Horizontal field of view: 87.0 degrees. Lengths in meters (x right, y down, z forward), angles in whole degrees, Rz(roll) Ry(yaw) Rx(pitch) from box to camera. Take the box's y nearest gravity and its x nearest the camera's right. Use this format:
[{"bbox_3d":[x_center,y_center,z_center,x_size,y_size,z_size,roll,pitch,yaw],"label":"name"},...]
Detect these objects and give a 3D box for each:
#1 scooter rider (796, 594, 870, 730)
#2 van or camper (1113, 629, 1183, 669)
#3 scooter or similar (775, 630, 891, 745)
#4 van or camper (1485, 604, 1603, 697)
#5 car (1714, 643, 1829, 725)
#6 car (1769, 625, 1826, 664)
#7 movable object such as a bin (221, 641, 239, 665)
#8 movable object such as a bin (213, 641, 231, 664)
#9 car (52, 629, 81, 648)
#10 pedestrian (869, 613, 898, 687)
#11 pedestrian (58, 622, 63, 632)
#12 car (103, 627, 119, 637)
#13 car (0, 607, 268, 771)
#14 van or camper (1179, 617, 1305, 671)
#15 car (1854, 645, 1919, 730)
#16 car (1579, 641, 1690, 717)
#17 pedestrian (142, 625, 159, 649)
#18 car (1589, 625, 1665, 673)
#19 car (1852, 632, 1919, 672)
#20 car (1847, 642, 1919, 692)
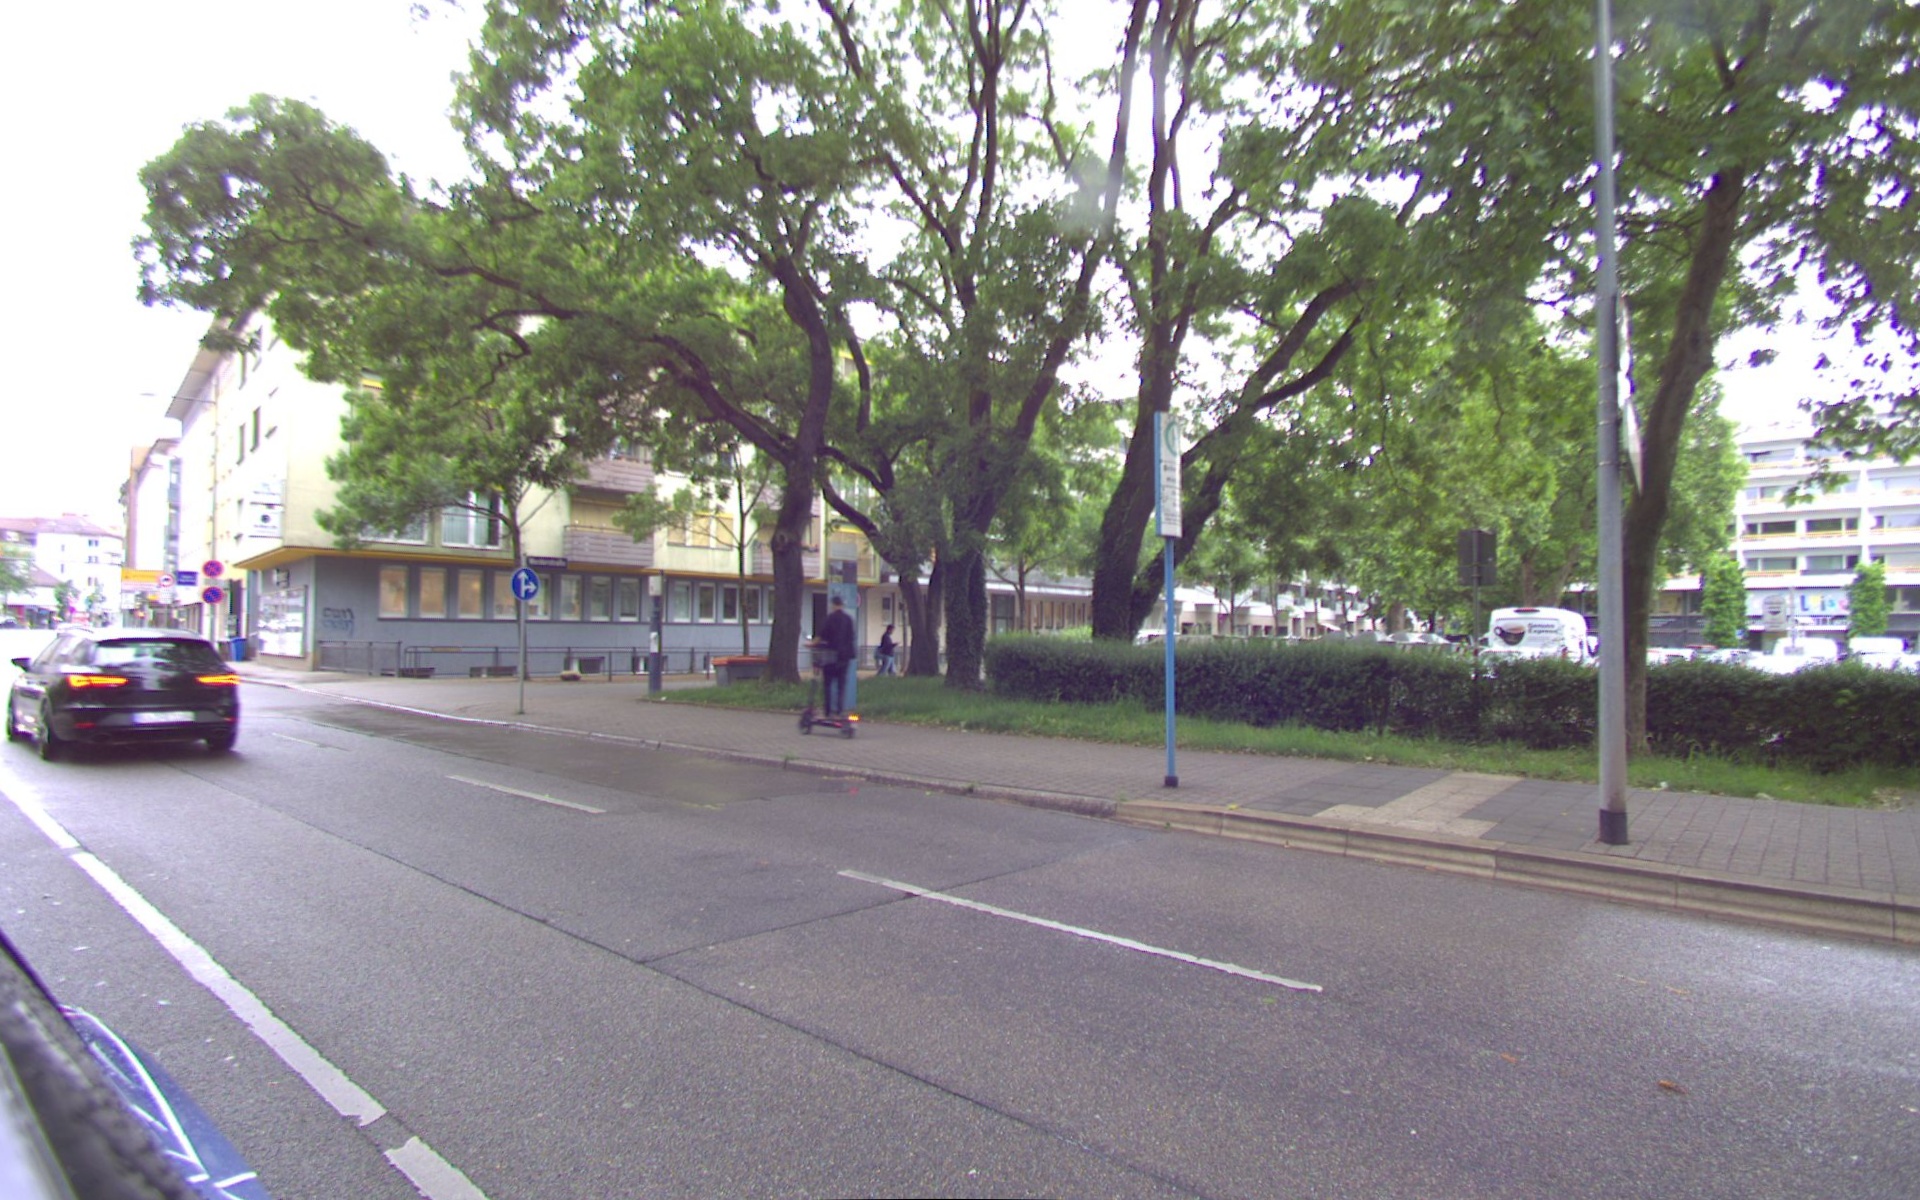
[{"bbox_3d":[-1.727,0.815,13.730,0.645,1.779,0.725,0,-1,42],"label":"scooter rider"},{"bbox_3d":[10.380,2.700,55.607,1.825,2.029,4.576,1,-2,38],"label":"van or camper"},{"bbox_3d":[-1.731,1.145,13.727,1.397,1.457,0.806,0,-2,41],"label":"scooter or similar"},{"bbox_3d":[16.899,1.426,29.199,2.099,2.450,4.280,-2,-3,42],"label":"van or camper"},{"bbox_3d":[18.595,1.842,23.217,1.895,1.497,3.948,-1,0,39],"label":"car"},{"bbox_3d":[41.879,2.190,50.680,2.097,1.735,3.948,-1,0,39],"label":"car"},{"bbox_3d":[-30.050,2.183,41.684,0.522,0.968,0.435,-3,1,-42],"label":"movable object such as a bin"},{"bbox_3d":[-30.880,2.196,42.336,0.521,0.935,0.426,-3,1,-42],"label":"movable object such as a bin"},{"bbox_3d":[-82.240,3.539,93.141,1.807,1.634,4.007,2,-3,-39],"label":"car"},{"bbox_3d":[-2.142,1.395,28.318,0.770,2.029,0.754,0,-2,-7],"label":"pedestrian"},{"bbox_3d":[-117.704,3.541,132.472,0.380,1.301,0.394,-2,-3,41],"label":"pedestrian"},{"bbox_3d":[-127.187,4.809,151.656,1.567,1.539,3.496,2,-3,-36],"label":"car"},{"bbox_3d":[-10.039,0.969,12.165,4.136,1.638,1.826,-2,-4,41],"label":"car"},{"bbox_3d":[13.954,2.158,49.568,2.561,2.420,8.535,-2,-3,41],"label":"van or camper"},{"bbox_3d":[20.492,1.811,21.609,1.895,1.497,3.948,-1,0,39],"label":"car"},{"bbox_3d":[16.716,1.872,25.002,1.895,1.497,3.948,-1,0,39],"label":"car"},{"bbox_3d":[-53.762,2.467,67.223,0.773,1.600,0.675,-1,-1,-29],"label":"pedestrian"},{"bbox_3d":[24.041,1.726,36.441,1.895,1.497,3.948,-1,0,39],"label":"car"},{"bbox_3d":[40.310,2.228,44.158,1.895,1.497,3.948,-1,0,39],"label":"car"},{"bbox_3d":[33.343,2.362,36.462,1.895,1.497,3.948,-1,0,39],"label":"car"}]
